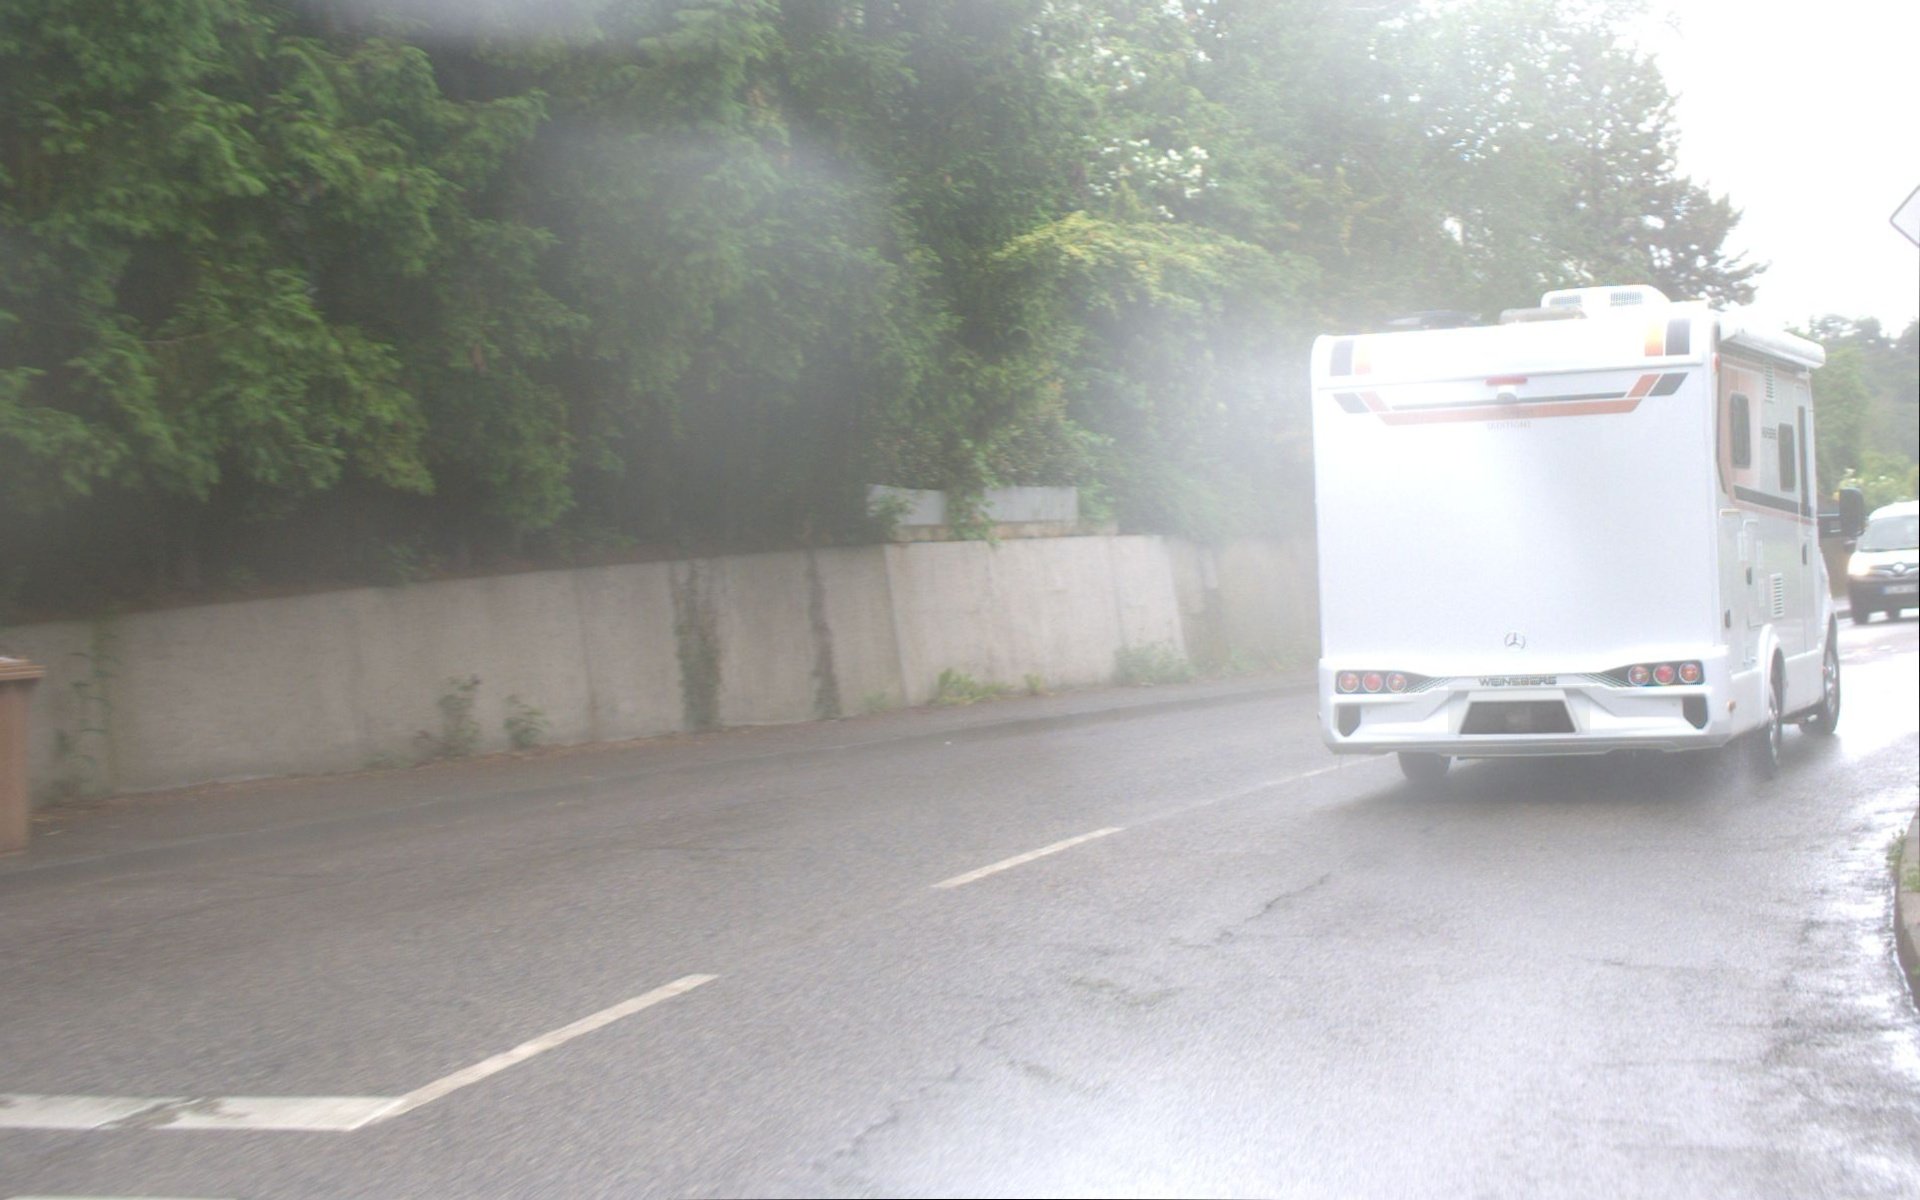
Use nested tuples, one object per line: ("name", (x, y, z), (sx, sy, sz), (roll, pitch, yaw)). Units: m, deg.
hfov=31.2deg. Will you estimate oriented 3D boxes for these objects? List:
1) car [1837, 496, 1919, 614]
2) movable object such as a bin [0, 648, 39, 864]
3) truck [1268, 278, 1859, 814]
("car", (14.895, -0.732, 52.922), (1.842, 1.749, 4.415), (0, 1, 26))
("movable object such as a bin", (-4.616, 0.718, 15.908), (0.500, 0.976, 0.490), (1, 1, 17))
("truck", (3.964, -0.348, 21.376), (2.518, 2.808, 6.195), (0, 1, 21))
